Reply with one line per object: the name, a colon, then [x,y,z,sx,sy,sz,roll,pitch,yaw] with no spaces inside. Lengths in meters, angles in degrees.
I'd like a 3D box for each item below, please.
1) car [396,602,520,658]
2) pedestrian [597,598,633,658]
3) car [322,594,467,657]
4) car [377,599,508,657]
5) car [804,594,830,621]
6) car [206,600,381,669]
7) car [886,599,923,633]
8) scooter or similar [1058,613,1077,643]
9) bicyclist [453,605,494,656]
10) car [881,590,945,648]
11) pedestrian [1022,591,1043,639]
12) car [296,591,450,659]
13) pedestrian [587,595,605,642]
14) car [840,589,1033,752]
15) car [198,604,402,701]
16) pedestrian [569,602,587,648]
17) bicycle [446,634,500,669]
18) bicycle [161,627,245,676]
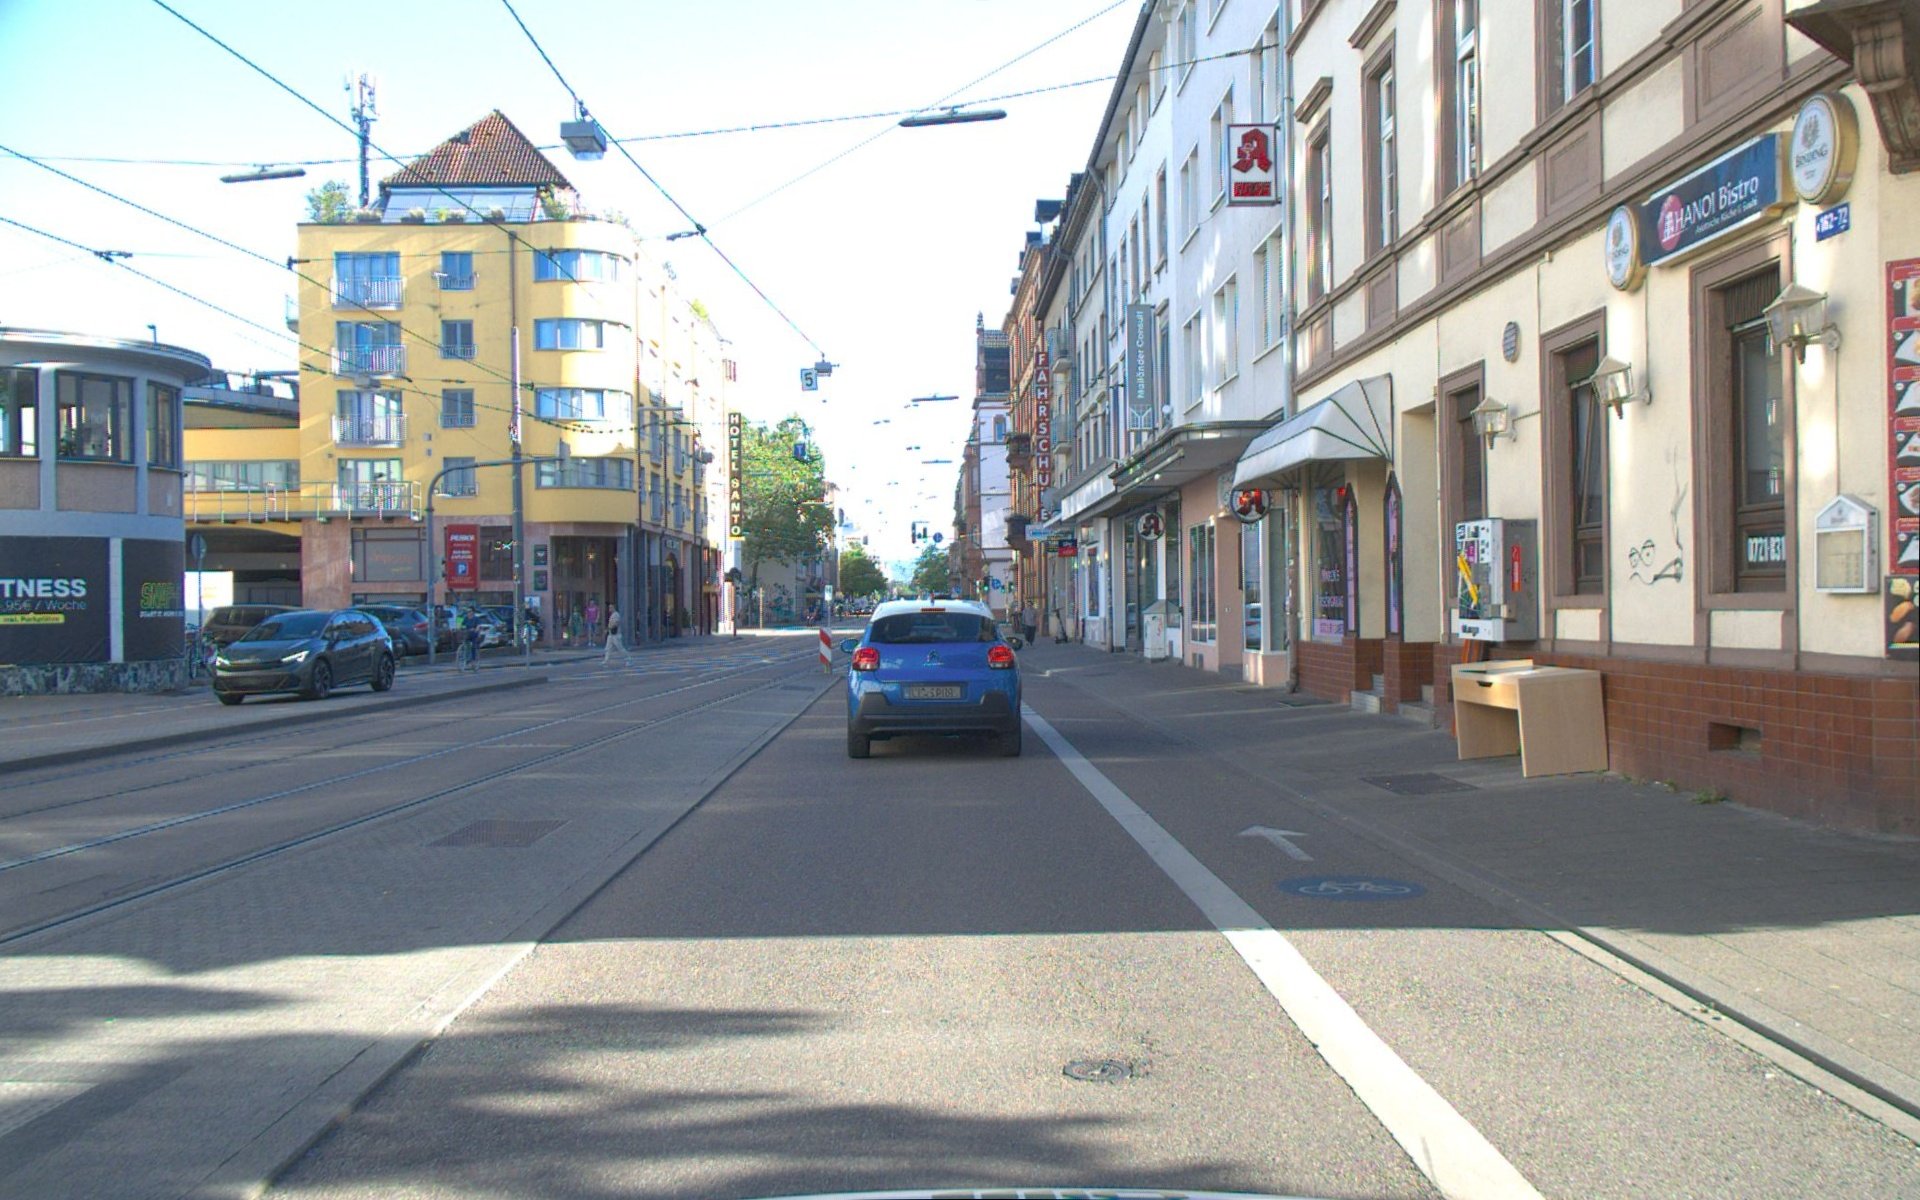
car: [-18.095,1.069,59.702,3.909,1.880,1.956,-1,0,-5]
pedestrian: [-9.794,0.794,46.920,0.829,1.683,0.690,-1,0,-30]
car: [-17.760,0.786,52.087,3.909,1.880,1.956,-1,0,-5]
car: [-17.690,0.934,56.650,3.909,1.880,1.956,-1,0,-5]
car: [-11.589,0.622,134.376,1.954,2.049,3.997,0,-1,-3]
car: [-17.818,0.904,44.358,3.909,1.704,1.956,-1,0,-5]
car: [-2.957,0.891,88.876,1.953,1.773,3.999,0,-1,-1]
scooter or similar: [3.642,0.955,56.046,0.501,0.976,1.851,-1,0,0]
bicyclist: [-12.856,0.798,43.738,0.715,1.314,1.180,-1,0,0]
car: [-1.479,0.629,52.862,1.953,1.773,3.999,0,-1,-1]
pedestrian: [2.569,0.520,58.903,0.679,1.680,0.680,-1,0,-2]
car: [-17.435,0.724,49.267,3.909,1.880,1.956,-1,0,-5]
pedestrian: [-14.999,0.752,68.154,0.683,1.890,0.838,-1,0,-13]
car: [-0.241,0.643,16.865,1.745,1.476,3.653,0,0,-1]
car: [-11.710,0.883,29.658,1.911,1.512,4.001,-3,0,1]
pedestrian: [-15.723,1.015,68.088,0.683,1.862,0.838,-1,0,-13]
bicycle: [-12.839,1.349,43.693,0.665,0.842,2.576,-1,0,0]
bicycle: [-17.158,1.155,37.567,0.665,1.020,2.686,-1,0,0]
